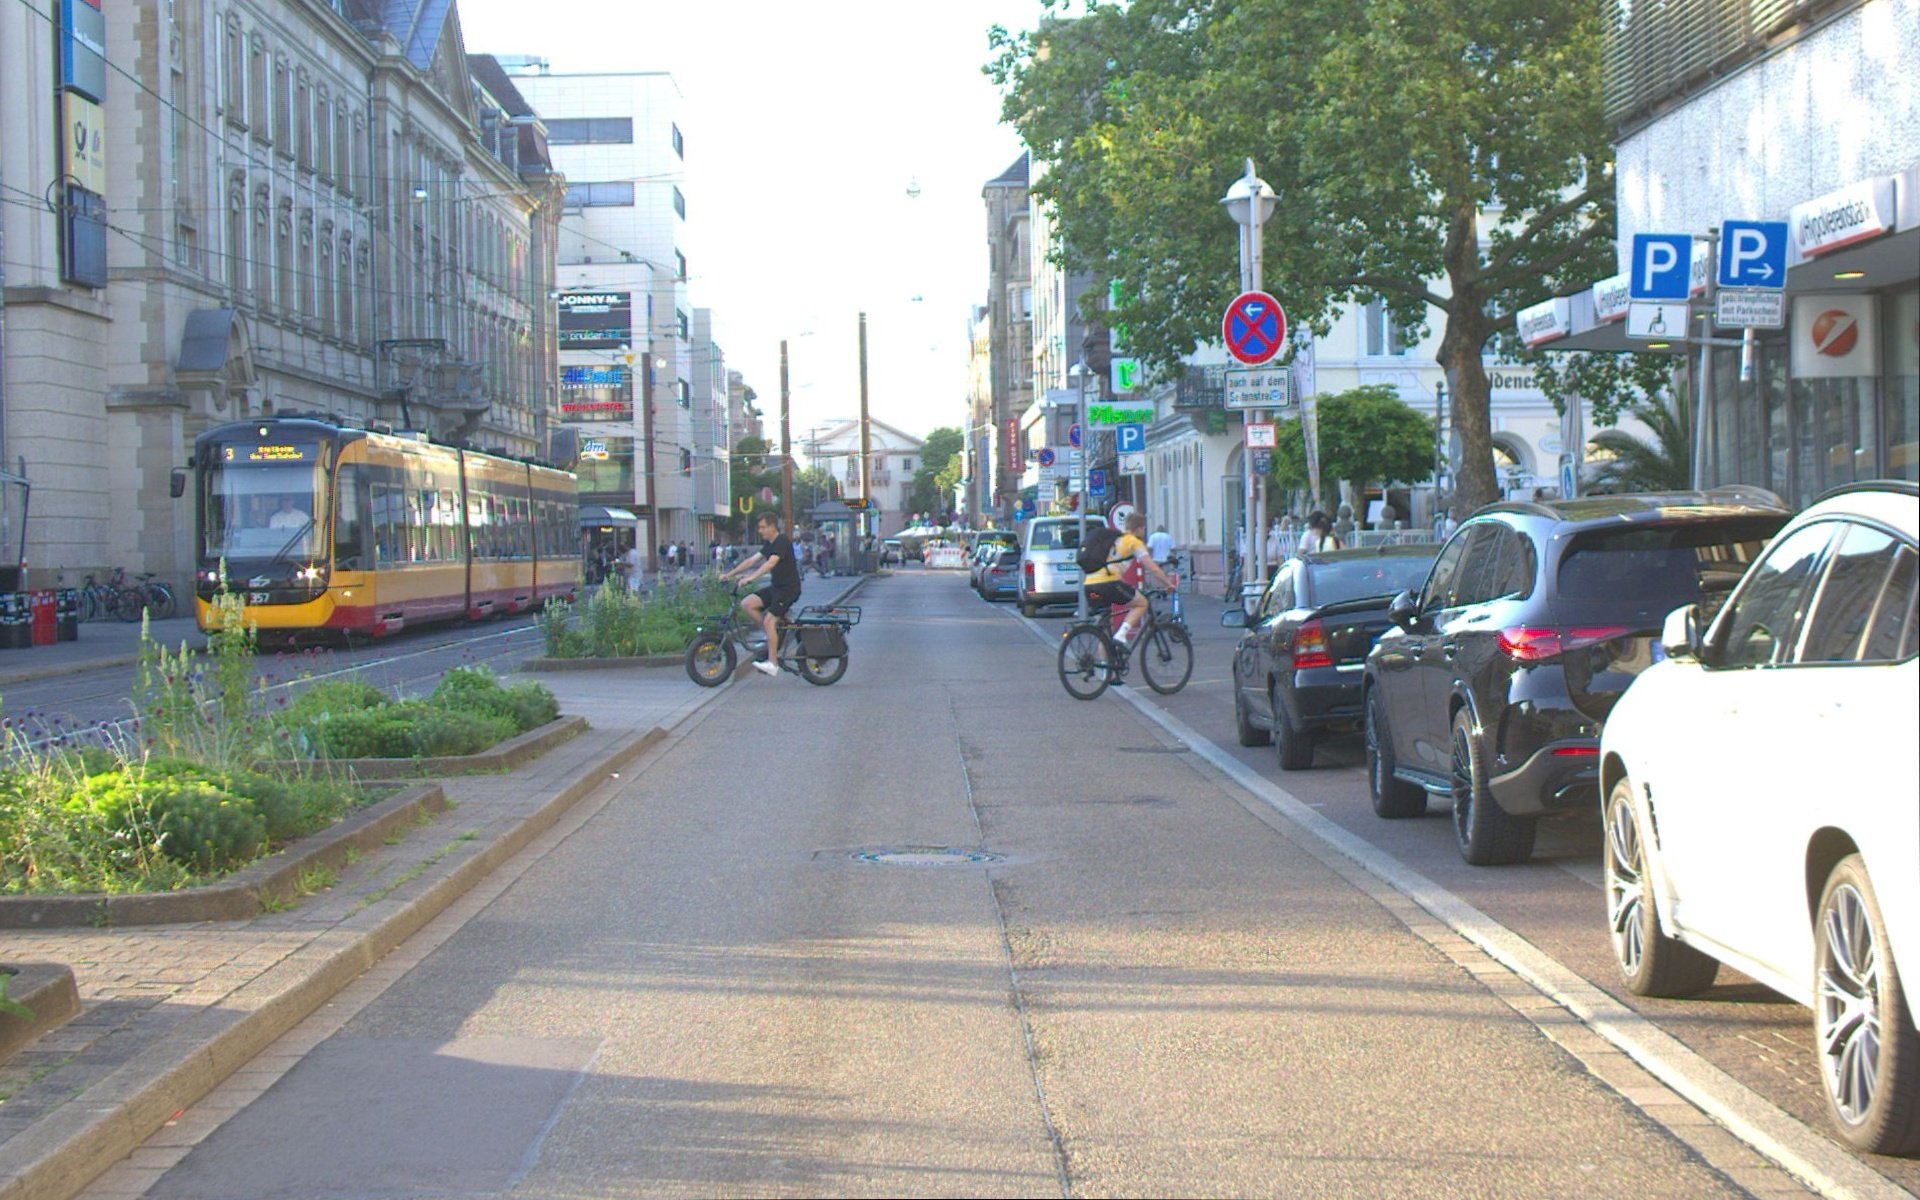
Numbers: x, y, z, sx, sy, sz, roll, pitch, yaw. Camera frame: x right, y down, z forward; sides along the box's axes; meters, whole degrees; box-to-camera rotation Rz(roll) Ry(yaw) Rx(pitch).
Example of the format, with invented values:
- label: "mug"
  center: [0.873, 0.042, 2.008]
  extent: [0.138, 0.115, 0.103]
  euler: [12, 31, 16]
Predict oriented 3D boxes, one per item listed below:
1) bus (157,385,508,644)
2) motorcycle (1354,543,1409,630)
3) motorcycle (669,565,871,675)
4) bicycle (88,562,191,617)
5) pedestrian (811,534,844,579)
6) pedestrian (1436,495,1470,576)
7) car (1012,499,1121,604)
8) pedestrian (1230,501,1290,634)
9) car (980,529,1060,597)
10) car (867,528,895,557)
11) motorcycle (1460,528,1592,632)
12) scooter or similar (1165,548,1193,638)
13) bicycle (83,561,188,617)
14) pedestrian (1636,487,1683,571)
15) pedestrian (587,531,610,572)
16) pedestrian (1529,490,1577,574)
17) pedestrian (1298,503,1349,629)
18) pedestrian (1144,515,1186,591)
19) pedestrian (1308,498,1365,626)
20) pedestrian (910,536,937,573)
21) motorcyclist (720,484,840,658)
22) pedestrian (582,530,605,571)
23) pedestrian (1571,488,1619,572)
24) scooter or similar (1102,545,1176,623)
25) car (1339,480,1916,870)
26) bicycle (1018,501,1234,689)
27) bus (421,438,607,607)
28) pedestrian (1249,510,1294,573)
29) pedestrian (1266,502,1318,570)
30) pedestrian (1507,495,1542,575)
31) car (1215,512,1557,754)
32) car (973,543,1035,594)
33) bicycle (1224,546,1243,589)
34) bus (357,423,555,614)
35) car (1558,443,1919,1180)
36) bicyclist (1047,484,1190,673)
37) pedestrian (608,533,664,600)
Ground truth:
- label: "bus"
  center: [-10.109, -1.399, 57.791]
  extent: [2.822, 3.639, 17.074]
  euler: [-1, 1, 0]
- label: "motorcycle"
  center: [5.774, -0.200, 47.170]
  extent: [0.455, 1.154, 2.031]
  euler: [-1, 1, -1]
- label: "motorcycle"
  center: [-2.015, 0.213, 36.530]
  extent: [2.043, 1.120, 0.568]
  euler: [-1, -1, -19]
- label: "bicycle"
  center: [-17.663, -0.227, 74.032]
  extent: [2.077, 1.144, 0.575]
  euler: [-1, -1, -5]
- label: "pedestrian"
  center: [-5.081, -1.680, 132.016]
  extent: [1.049, 1.680, 0.908]
  euler: [-1, -1, 11]
- label: "pedestrian"
  center: [8.248, -1.072, 57.516]
  extent: [0.474, 1.325, 0.539]
  euler: [-2, -1, 14]
- label: "car"
  center: [2.085, -0.957, 68.370]
  extent: [1.915, 1.975, 4.421]
  euler: [-1, 1, -1]
- label: "pedestrian"
  center: [4.145, -0.454, 47.549]
  extent: [0.714, 1.797, 0.824]
  euler: [-2, 0, 2]
- label: "car"
  center: [1.591, -1.001, 93.219]
  extent: [1.993, 1.755, 4.421]
  euler: [-1, 1, -1]
- label: "car"
  center: [-5.236, -3.795, 228.075]
  extent: [1.760, 1.821, 3.570]
  euler: [-1, -1, -1]
- label: "motorcycle"
  center: [7.877, -0.289, 47.945]
  extent: [0.564, 1.418, 2.297]
  euler: [-1, 1, -27]
- label: "scooter or similar"
  center: [3.053, -0.107, 47.827]
  extent: [0.315, 1.217, 1.272]
  euler: [-1, 1, 6]
- label: "bicycle"
  center: [-17.590, -0.233, 73.366]
  extent: [2.096, 1.144, 0.575]
  euler: [-1, -1, -5]
- label: "pedestrian"
  center: [11.011, -1.114, 54.120]
  extent: [0.645, 1.280, 0.740]
  euler: [-2, -1, 16]
- label: "pedestrian"
  center: [-13.990, -1.875, 133.142]
  extent: [0.777, 1.575, 0.679]
  euler: [-1, 1, -12]
- label: "pedestrian"
  center: [9.355, -1.068, 54.259]
  extent: [0.645, 1.280, 0.740]
  euler: [-2, -1, 16]
- label: "pedestrian"
  center: [5.014, -0.469, 47.414]
  extent: [0.614, 1.711, 0.662]
  euler: [-1, -1, 1]
- label: "pedestrian"
  center: [4.822, -1.105, 80.817]
  extent: [0.786, 1.745, 0.895]
  euler: [-1, -1, -7]
- label: "pedestrian"
  center: [5.107, -0.514, 46.708]
  extent: [0.678, 1.711, 0.654]
  euler: [-1, -1, 2]
- label: "pedestrian"
  center: [-1.951, -2.434, 183.396]
  extent: [1.229, 1.922, 1.022]
  euler: [-1, 1, -16]
- label: "motorcyclist"
  center: [-1.922, -0.299, 36.567]
  extent: [1.001, 1.807, 0.960]
  euler: [-1, -1, -19]
- label: "pedestrian"
  center: [-14.083, -1.900, 132.206]
  extent: [0.773, 1.575, 0.679]
  euler: [-1, 1, -12]
- label: "pedestrian"
  center: [9.982, -1.089, 54.017]
  extent: [0.645, 1.280, 0.740]
  euler: [-2, -1, 16]
- label: "scooter or similar"
  center: [2.870, -0.260, 55.267]
  extent: [1.125, 1.212, 0.300]
  euler: [-2, 0, 1]
- label: "car"
  center: [3.016, 0.230, 16.503]
  extent: [1.775, 1.533, 4.579]
  euler: [-1, 2, -1]
- label: "bicycle"
  center: [1.608, -0.071, 32.983]
  extent: [2.362, 1.734, 0.602]
  euler: [-2, 2, -44]
- label: "bus"
  center: [-10.287, -1.696, 80.502]
  extent: [2.822, 3.600, 11.823]
  euler: [-1, 0, 0]
- label: "pedestrian"
  center: [6.591, -1.232, 72.707]
  extent: [0.822, 1.301, 0.870]
  euler: [-1, -1, -1]
- label: "pedestrian"
  center: [6.686, -1.287, 69.301]
  extent: [0.902, 1.309, 0.967]
  euler: [-1, -1, -1]
- label: "pedestrian"
  center: [9.240, -1.062, 56.291]
  extent: [0.474, 1.280, 0.539]
  euler: [-2, -1, 16]
- label: "car"
  center: [2.806, 0.163, 23.508]
  extent: [1.655, 1.375, 4.341]
  euler: [-5, 1, -1]
- label: "car"
  center: [1.494, -1.072, 119.377]
  extent: [1.993, 1.661, 4.421]
  euler: [-1, -1, -1]
- label: "bicycle"
  center: [5.896, -0.701, 74.149]
  extent: [0.250, 0.899, 1.374]
  euler: [-1, -1, -1]
- label: "bus"
  center: [-10.206, -1.663, 70.450]
  extent: [2.822, 3.612, 8.290]
  euler: [-1, 1, 0]
- label: "car"
  center: [2.968, 0.396, 9.490]
  extent: [1.816, 1.580, 4.723]
  euler: [-1, 1, 0]
- label: "bicyclist"
  center: [1.518, -0.212, 32.936]
  extent: [0.930, 1.770, 0.970]
  euler: [-2, 1, -44]
- label: "pedestrian"
  center: [-7.513, -0.777, 79.729]
  extent: [0.718, 1.509, 1.035]
  euler: [-2, -1, 43]
